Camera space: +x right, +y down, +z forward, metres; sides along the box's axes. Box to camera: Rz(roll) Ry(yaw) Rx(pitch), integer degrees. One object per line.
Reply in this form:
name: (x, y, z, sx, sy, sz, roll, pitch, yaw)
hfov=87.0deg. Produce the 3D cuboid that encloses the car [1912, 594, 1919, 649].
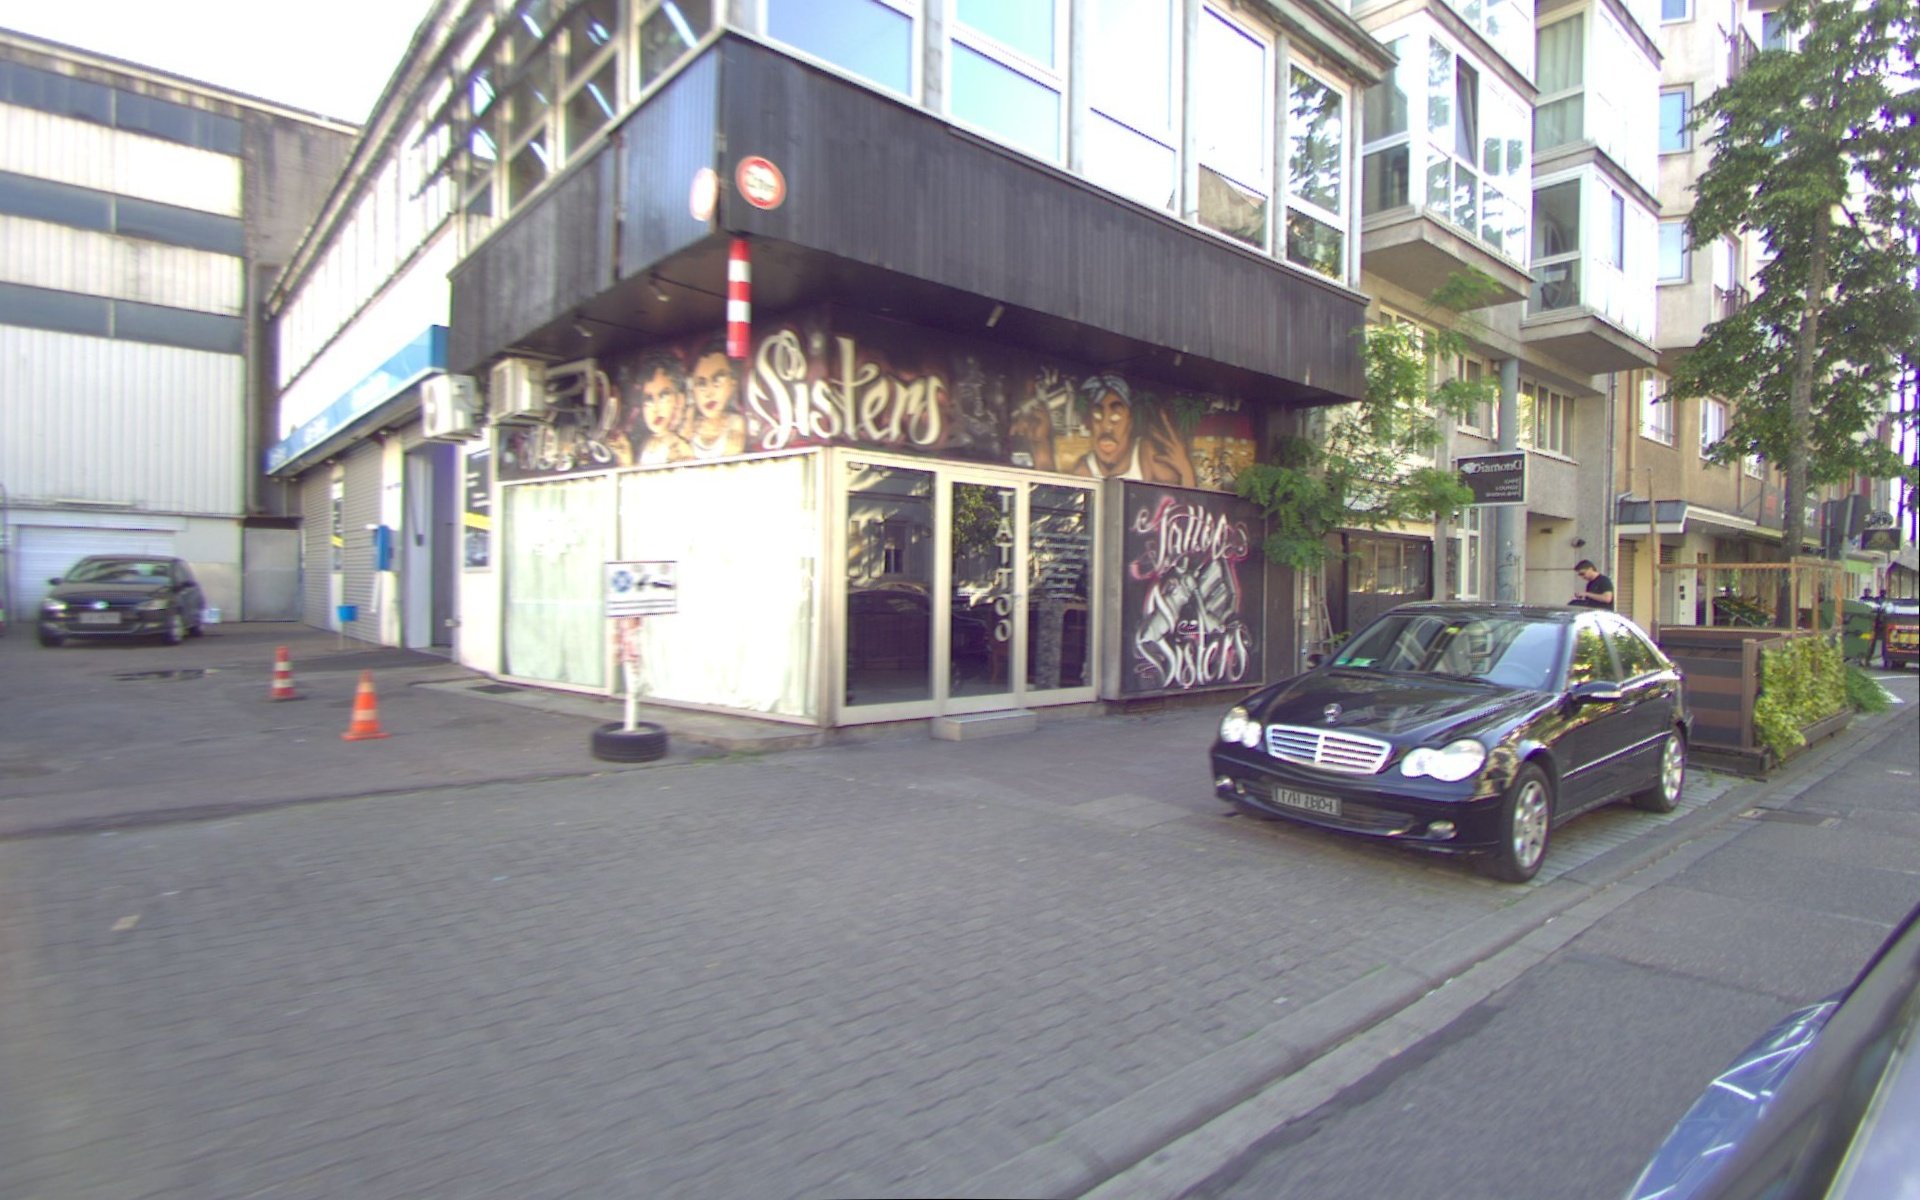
car: (28.260, 0.632, 28.306, 4.826, 1.489, 1.826, 0, 4, -41)

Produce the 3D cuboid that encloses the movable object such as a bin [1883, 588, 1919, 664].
movable object such as a bin: (20.304, 0.548, 21.150, 1.126, 1.561, 1.333, 0, 1, -40)

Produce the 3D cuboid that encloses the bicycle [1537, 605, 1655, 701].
bicycle: (8.577, 0.675, 13.734, 0.670, 1.163, 1.682, 1, 1, 7)

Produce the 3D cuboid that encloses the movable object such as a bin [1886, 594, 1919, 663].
movable object such as a bin: (21.131, 0.620, 21.942, 1.126, 1.472, 1.402, 0, 2, -40)

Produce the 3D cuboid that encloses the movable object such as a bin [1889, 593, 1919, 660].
movable object such as a bin: (21.946, 0.604, 22.749, 1.126, 1.472, 1.402, 0, 2, -40)

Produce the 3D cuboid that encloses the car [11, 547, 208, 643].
car: (-13.741, -0.145, 16.601, 1.869, 1.375, 4.004, 0, 2, -31)

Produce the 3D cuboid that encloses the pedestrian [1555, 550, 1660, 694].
pedestrian: (9.105, 0.289, 14.259, 0.745, 1.960, 0.930, 1, 1, -16)

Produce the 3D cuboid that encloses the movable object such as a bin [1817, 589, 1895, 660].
movable object such as a bin: (19.451, 0.502, 21.970, 1.272, 1.449, 1.079, 0, 1, -41)

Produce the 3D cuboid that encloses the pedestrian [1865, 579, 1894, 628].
pedestrian: (32.776, 0.120, 36.073, 0.494, 1.717, 0.630, 0, 1, -38)

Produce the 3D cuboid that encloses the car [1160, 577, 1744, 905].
car: (3.559, 0.628, 6.868, 4.566, 1.429, 1.905, 0, 3, -41)

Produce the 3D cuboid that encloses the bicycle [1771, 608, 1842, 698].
bicycle: (12.453, 0.744, 14.906, 0.607, 1.133, 2.026, 10, 7, 39)
